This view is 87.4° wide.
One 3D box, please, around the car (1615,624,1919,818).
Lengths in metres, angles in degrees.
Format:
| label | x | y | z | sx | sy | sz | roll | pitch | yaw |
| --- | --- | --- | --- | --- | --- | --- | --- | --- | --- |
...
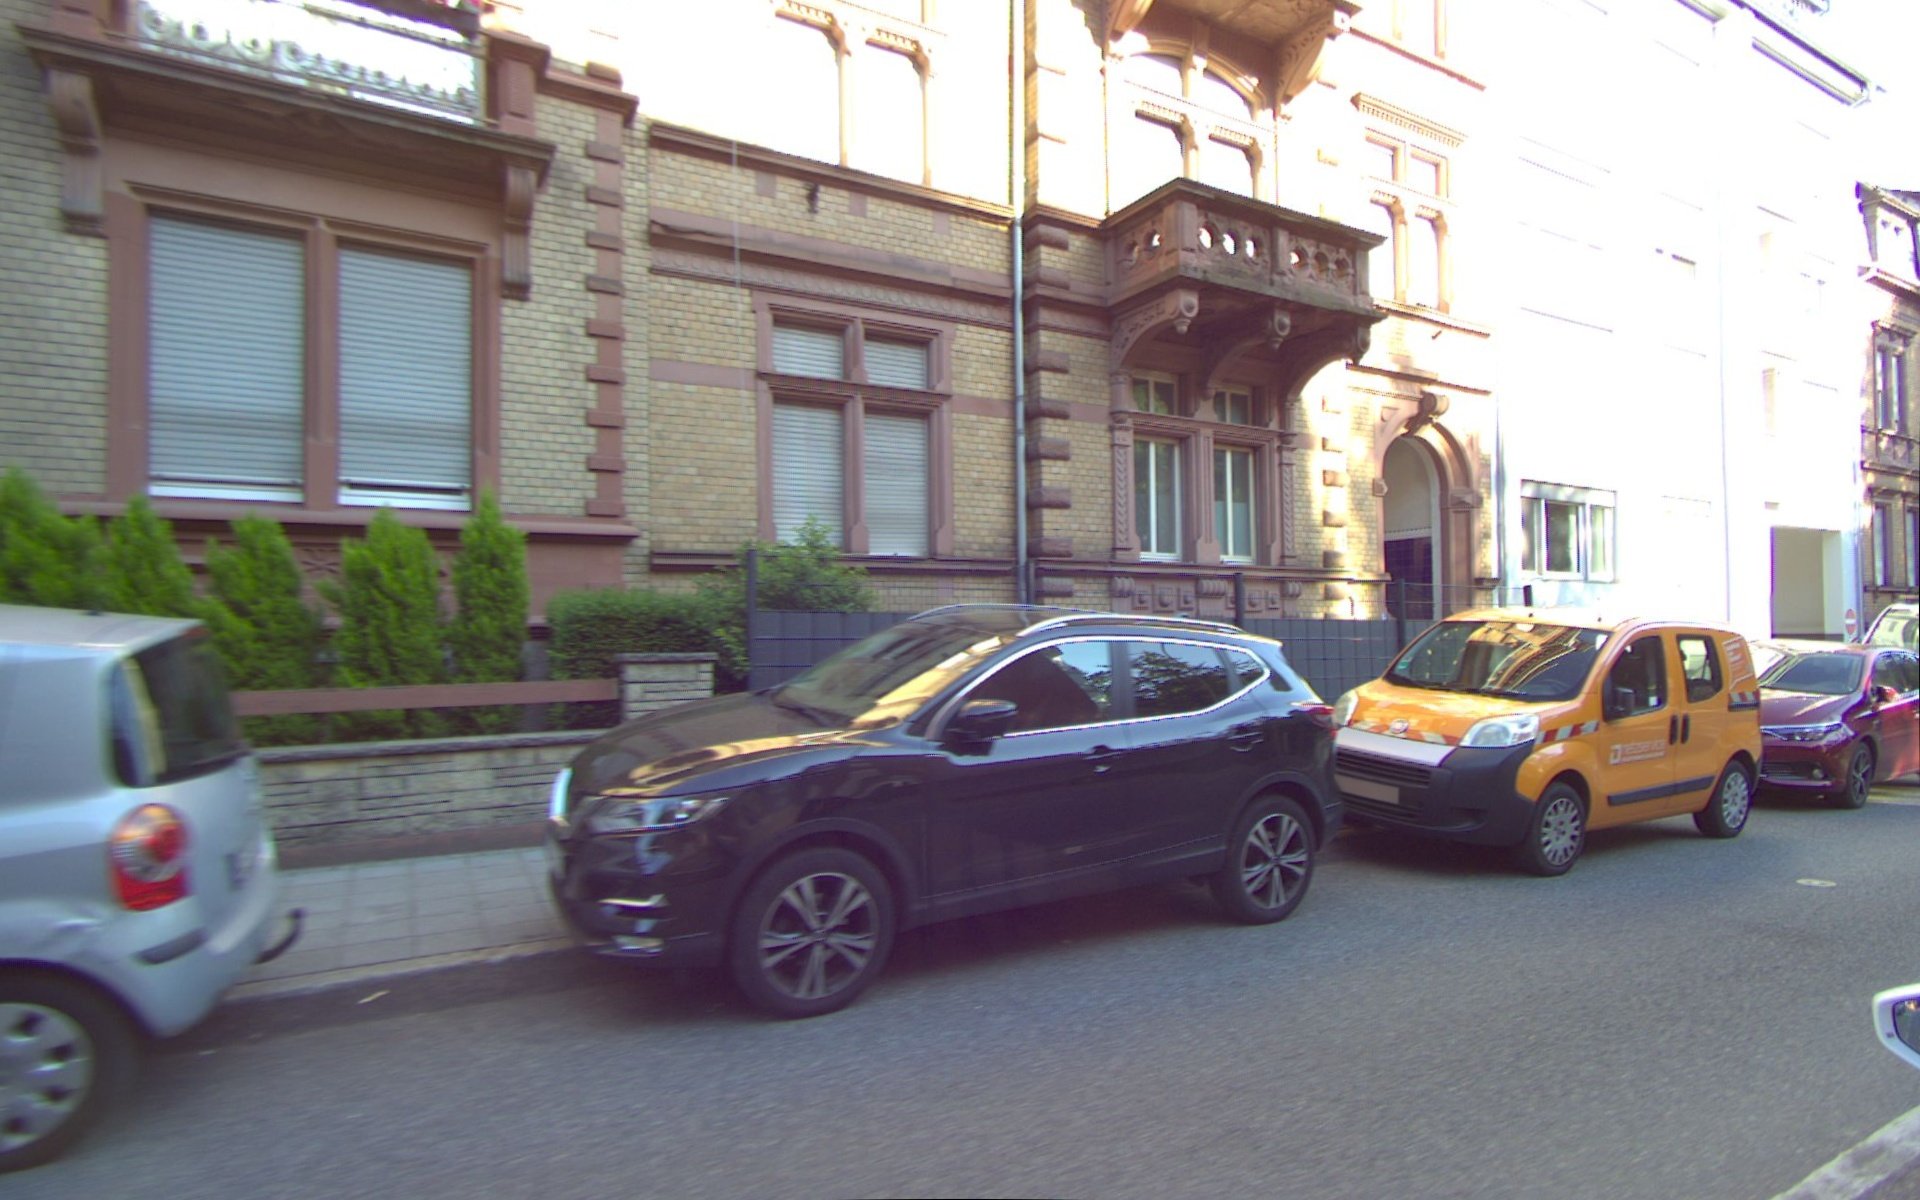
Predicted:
| label | x | y | z | sx | sy | sz | roll | pitch | yaw |
| --- | --- | --- | --- | --- | --- | --- | --- | --- | --- |
| car | 8.732 | 1.083 | 10.407 | 4.071 | 1.641 | 1.694 | 1 | -1 | -31 |

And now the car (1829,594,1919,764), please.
| label | x | y | z | sx | sy | sz | roll | pitch | yaw |
| --- | --- | --- | --- | --- | --- | --- | --- | --- | --- |
| car | 13.515 | 0.974 | 13.247 | 4.644 | 2.037 | 1.784 | 1 | -1 | -31 |

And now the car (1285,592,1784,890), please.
| label | x | y | z | sx | sy | sz | roll | pitch | yaw |
| --- | --- | --- | --- | --- | --- | --- | --- | --- | --- |
| car | 4.450 | 0.862 | 7.667 | 3.813 | 1.761 | 1.694 | 1 | -1 | -31 |

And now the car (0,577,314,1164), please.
| label | x | y | z | sx | sy | sz | roll | pitch | yaw |
| --- | --- | --- | --- | --- | --- | --- | --- | --- | --- |
| car | -4.079 | 0.732 | 2.898 | 3.591 | 1.605 | 1.695 | 1 | -1 | -29 |

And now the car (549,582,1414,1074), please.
| label | x | y | z | sx | sy | sz | roll | pitch | yaw |
| --- | --- | --- | --- | --- | --- | --- | --- | --- | --- |
| car | 0.261 | 0.837 | 5.365 | 4.386 | 1.730 | 1.695 | 1 | -1 | -29 |
